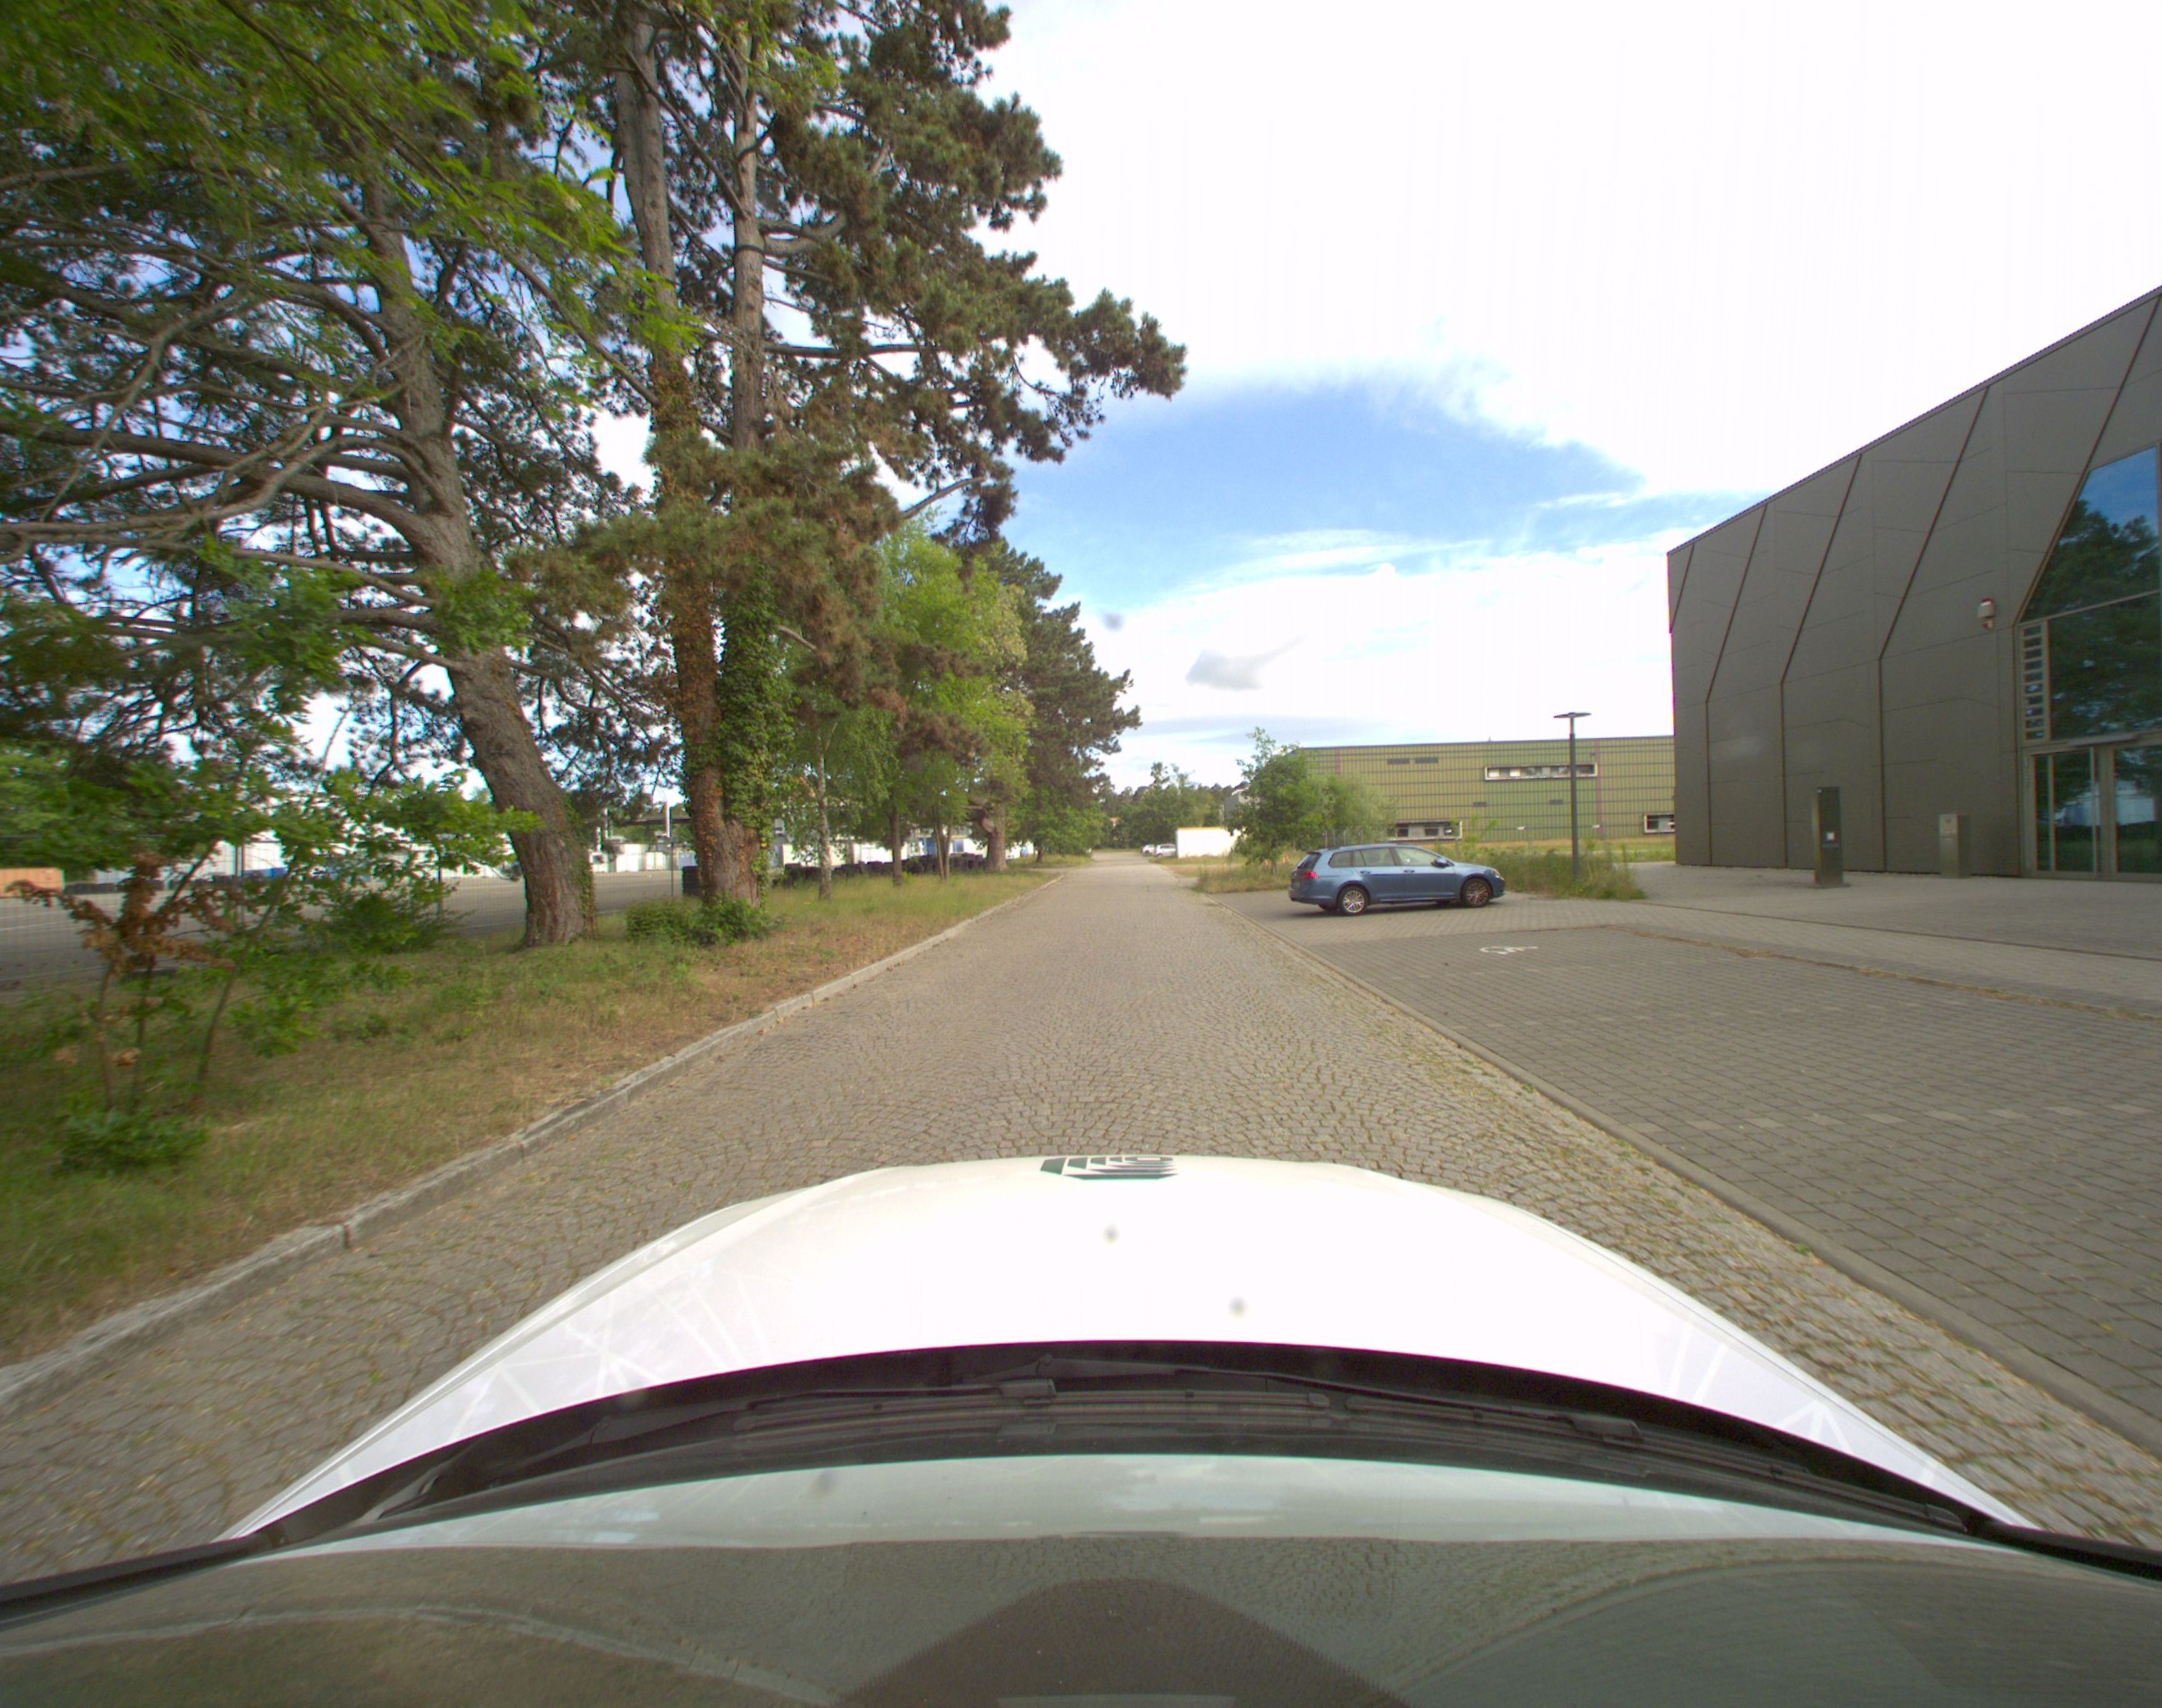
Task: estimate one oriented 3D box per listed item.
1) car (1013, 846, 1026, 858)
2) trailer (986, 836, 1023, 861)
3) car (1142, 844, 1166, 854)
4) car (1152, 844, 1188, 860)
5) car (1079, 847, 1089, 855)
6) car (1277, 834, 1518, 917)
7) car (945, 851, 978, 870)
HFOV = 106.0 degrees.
[{"bbox_3d":[-11.024,-0.383,145.674,1.919,2.047,4.600,-2,0,0],"label":"car"},{"bbox_3d":[-9.731,-0.730,104.764,3.144,3.067,8.796,-2,1,5],"label":"trailer"},{"bbox_3d":[12.364,-0.809,137.477,4.008,1.501,1.550,-2,0,3],"label":"car"},{"bbox_3d":[9.920,-0.281,91.353,3.837,1.654,1.686,-2,0,0],"label":"car"},{"bbox_3d":[0.603,-0.575,156.994,1.729,1.469,4.046,-2,0,0],"label":"car"},{"bbox_3d":[6.803,0.441,17.831,4.508,1.443,1.823,-4,0,-1],"label":"car"},{"bbox_3d":[-9.855,0.500,67.271,1.757,1.453,3.496,-2,0,8],"label":"car"}]
